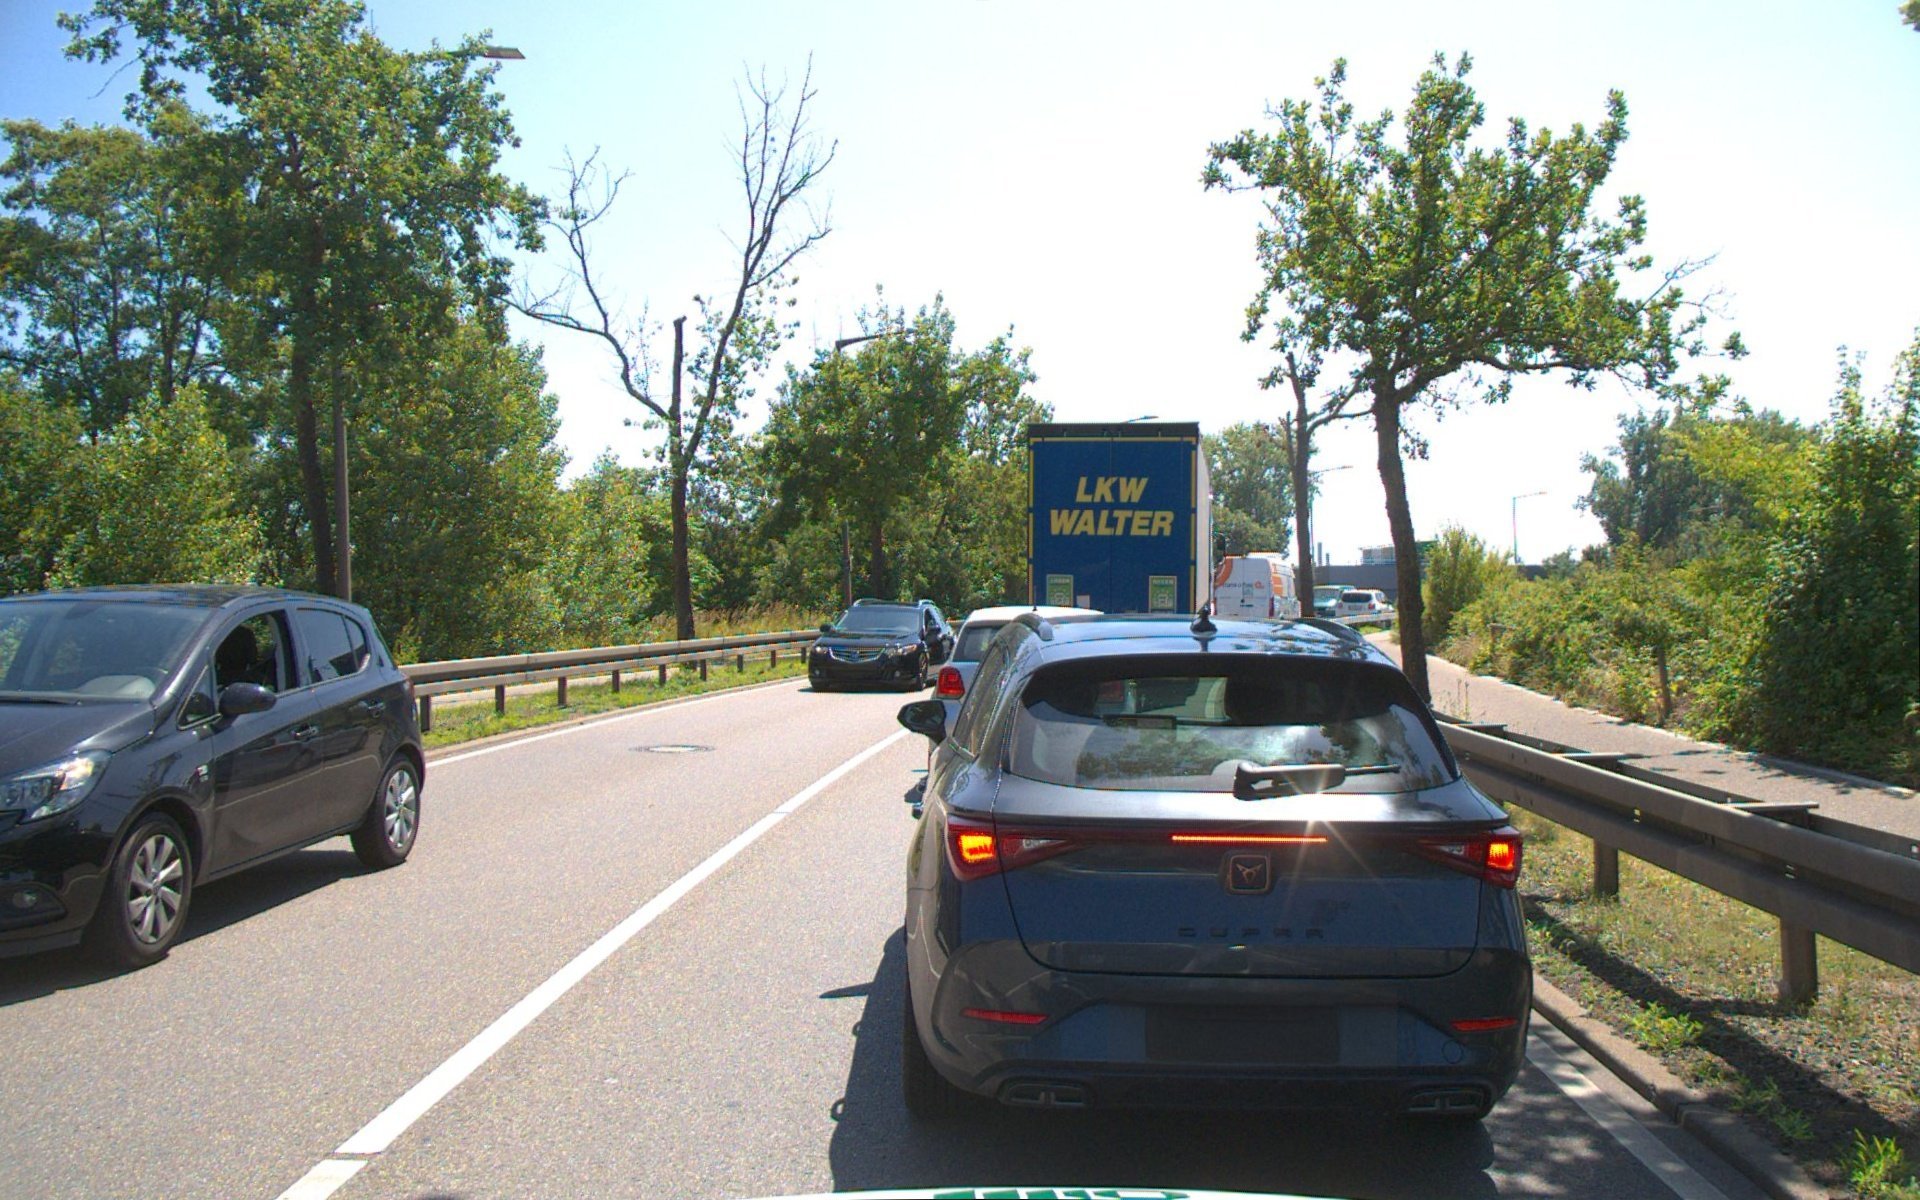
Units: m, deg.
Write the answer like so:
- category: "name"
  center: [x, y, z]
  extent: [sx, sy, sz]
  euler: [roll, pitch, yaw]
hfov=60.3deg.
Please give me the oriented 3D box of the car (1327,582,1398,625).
- category: "car"
  center: [17.150, 0.145, 70.353]
  extent: [1.955, 1.742, 4.615]
  euler: [1, 0, 27]

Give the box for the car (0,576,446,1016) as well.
- category: "car"
  center: [-3.860, 0.655, 7.563]
  extent: [1.636, 1.491, 3.821]
  euler: [1, 0, 3]

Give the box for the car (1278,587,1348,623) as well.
- category: "car"
  center: [17.392, 0.252, 81.282]
  extent: [2.089, 1.710, 4.872]
  euler: [1, 0, 28]

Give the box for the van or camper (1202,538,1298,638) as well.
- category: "van or camper"
  center: [9.538, -0.383, 53.995]
  extent: [2.414, 3.051, 6.090]
  euler: [1, 0, 16]

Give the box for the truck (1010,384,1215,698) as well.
- category: "truck"
  center: [3.484, -0.864, 32.369]
  extent: [2.887, 4.526, 16.812]
  euler: [1, 0, 9]

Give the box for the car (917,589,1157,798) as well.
- category: "car"
  center: [0.590, 0.695, 14.357]
  extent: [1.772, 1.534, 4.000]
  euler: [1, 0, 0]

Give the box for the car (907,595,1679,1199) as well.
- category: "car"
  center: [0.733, 0.729, 5.622]
  extent: [1.708, 1.457, 3.879]
  euler: [1, 0, 0]

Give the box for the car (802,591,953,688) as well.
- category: "car"
  center: [-1.283, 0.598, 27.608]
  extent: [1.820, 1.445, 4.261]
  euler: [1, 0, 6]
